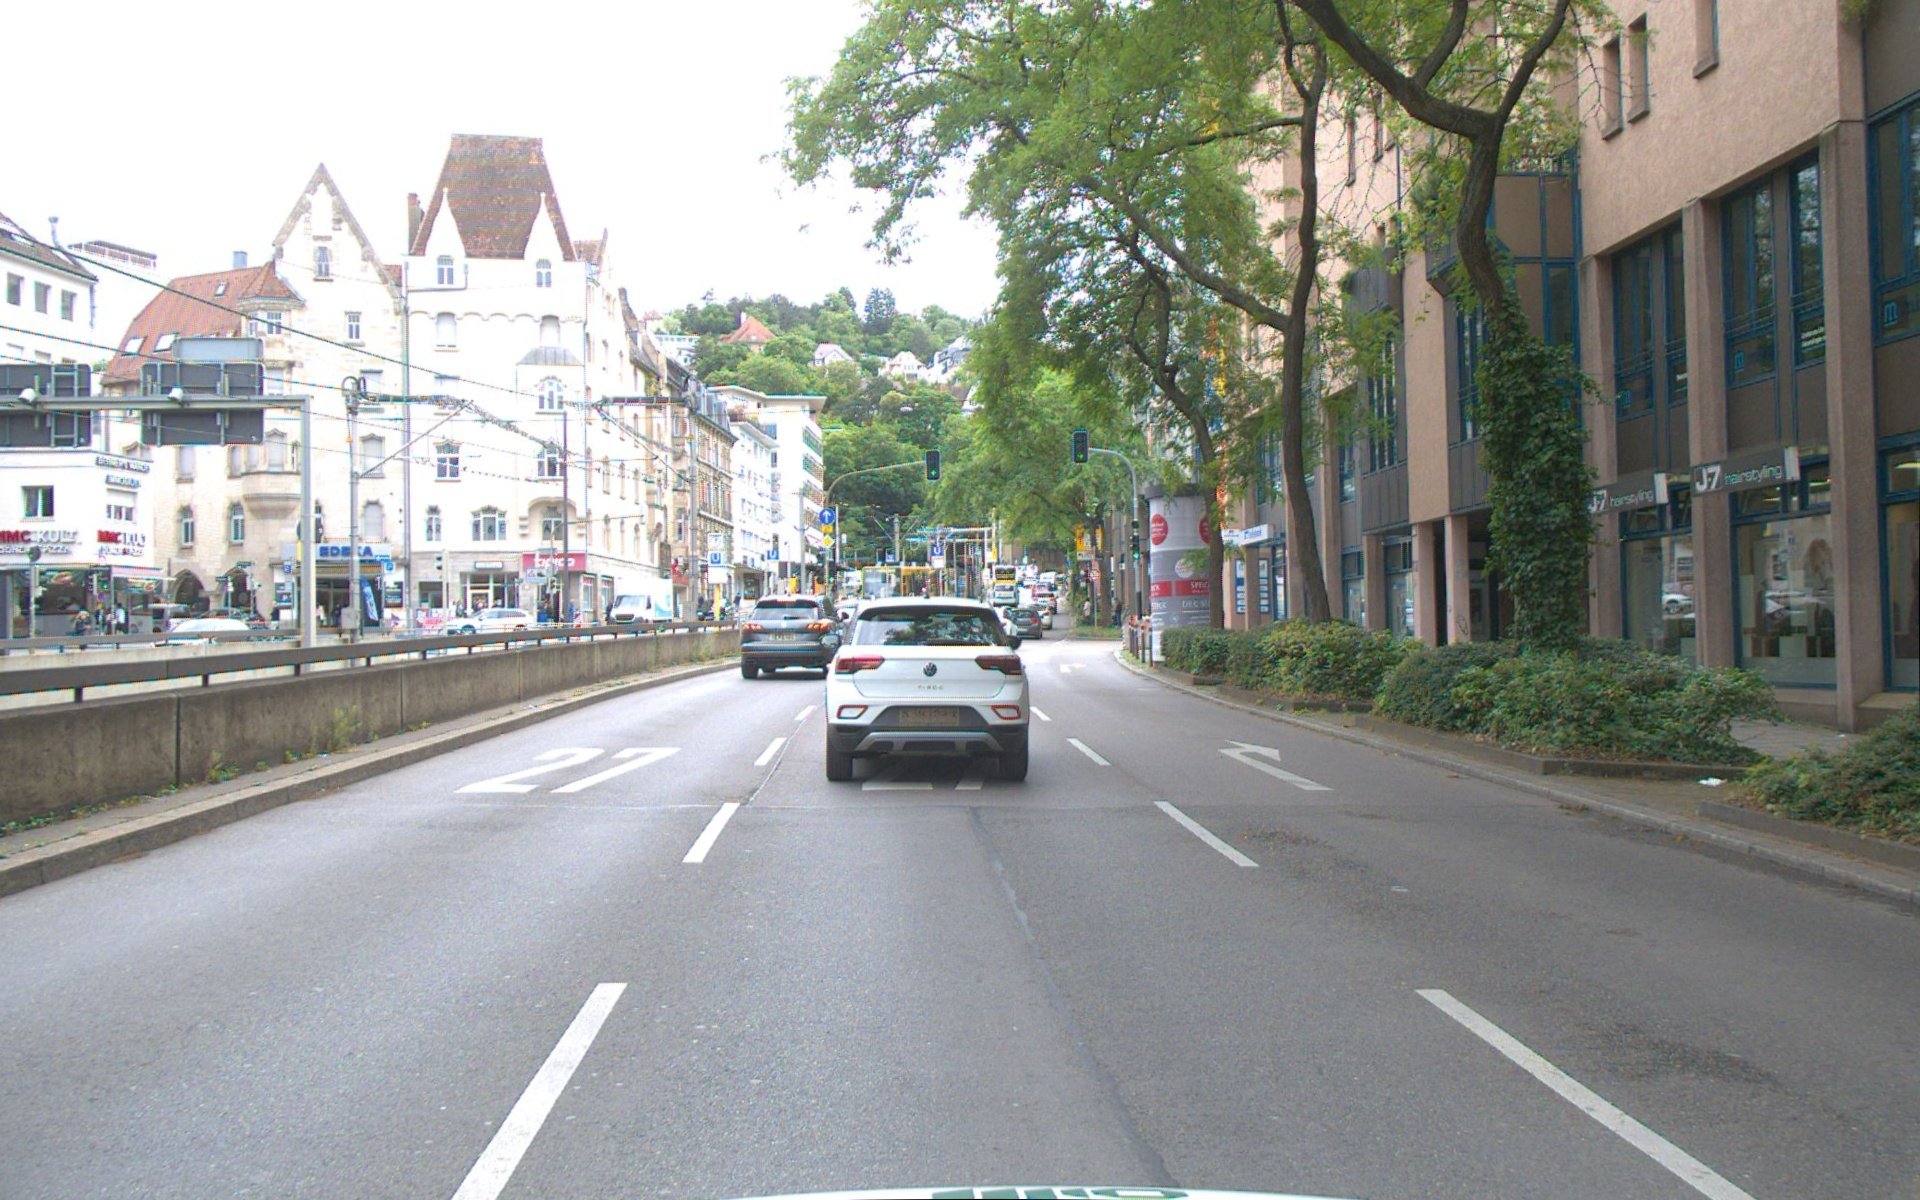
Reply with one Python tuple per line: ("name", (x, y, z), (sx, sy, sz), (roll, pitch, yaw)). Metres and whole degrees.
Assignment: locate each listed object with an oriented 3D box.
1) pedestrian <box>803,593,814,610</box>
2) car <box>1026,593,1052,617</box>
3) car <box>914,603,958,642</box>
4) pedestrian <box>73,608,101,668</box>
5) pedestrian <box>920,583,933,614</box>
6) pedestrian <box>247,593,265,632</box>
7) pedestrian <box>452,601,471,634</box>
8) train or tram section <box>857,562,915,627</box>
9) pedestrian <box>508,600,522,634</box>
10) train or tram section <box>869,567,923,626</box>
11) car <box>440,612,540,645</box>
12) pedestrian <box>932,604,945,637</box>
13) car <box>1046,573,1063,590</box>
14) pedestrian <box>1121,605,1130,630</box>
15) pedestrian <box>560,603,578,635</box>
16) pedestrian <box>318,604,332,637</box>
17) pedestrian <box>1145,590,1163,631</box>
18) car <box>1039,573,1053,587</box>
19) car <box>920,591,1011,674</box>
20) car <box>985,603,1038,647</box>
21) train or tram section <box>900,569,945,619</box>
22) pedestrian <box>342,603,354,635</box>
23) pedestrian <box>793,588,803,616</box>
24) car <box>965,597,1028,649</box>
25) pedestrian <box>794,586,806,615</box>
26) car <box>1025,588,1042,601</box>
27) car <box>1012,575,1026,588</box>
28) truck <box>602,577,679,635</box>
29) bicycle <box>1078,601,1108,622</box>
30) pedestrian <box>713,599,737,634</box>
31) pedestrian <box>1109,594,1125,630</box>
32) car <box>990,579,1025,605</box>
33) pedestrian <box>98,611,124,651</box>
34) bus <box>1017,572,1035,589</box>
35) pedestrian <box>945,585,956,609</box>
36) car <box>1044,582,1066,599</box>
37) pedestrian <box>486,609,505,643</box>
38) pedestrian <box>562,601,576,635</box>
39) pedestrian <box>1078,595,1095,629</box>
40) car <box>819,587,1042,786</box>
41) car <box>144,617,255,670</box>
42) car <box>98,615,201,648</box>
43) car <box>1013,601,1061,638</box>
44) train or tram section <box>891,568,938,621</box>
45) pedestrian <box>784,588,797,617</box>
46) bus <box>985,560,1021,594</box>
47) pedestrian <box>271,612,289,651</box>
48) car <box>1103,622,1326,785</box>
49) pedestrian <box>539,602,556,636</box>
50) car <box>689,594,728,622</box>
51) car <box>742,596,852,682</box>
("pedestrian", (-10.022, 0.086, 109.302), (0.622, 1.127, 0.690), (-1, 0, 3))
("car", (5.819, 0.371, 121.713), (1.845, 1.713, 4.163), (0, 0, 4))
("car", (-1.122, 1.008, 75.086), (1.847, 1.713, 4.158), (0, 0, -3))
("pedestrian", (-26.396, 1.141, 50.024), (0.499, 1.811, 0.577), (-1, 0, 6))
("pedestrian", (-1.912, -0.111, 94.136), (0.671, 1.741, 0.712), (-1, 0, 3))
("pedestrian", (-32.864, 0.584, 77.191), (0.564, 1.811, 0.510), (-1, -1, 30))
("pedestrian", (-26.878, 0.947, 89.199), (0.765, 1.735, 0.654), (-1, 0, 9))
("train or tram section", (-4.357, -0.356, 98.398), (2.775, 3.743, 5.755), (0, 0, 4))
("pedestrian", (-23.426, 0.893, 87.081), (0.563, 1.811, 0.512), (-1, 0, 8))
("train or tram section", (-3.963, -0.252, 104.155), (2.775, 3.582, 5.755), (0, 0, 4))
("car", (-23.166, 1.380, 81.549), (4.465, 1.588, 1.732), (1, -1, -37))
("pedestrian", (-1.159, 1.078, 88.768), (0.622, 1.741, 0.872), (-1, 0, 3))
("car", (12.026, -2.308, 211.201), (1.953, 2.049, 4.000), (0, -1, 0))
("pedestrian", (8.740, 0.921, 87.323), (0.461, 1.357, 0.519), (0, -1, -1))
("pedestrian", (-21.263, 1.025, 89.962), (0.659, 1.706, 0.691), (-1, 0, 21))
("pedestrian", (-34.687, 1.115, 90.381), (0.503, 1.811, 0.573), (-1, -1, 44))
("pedestrian", (9.785, 0.551, 83.476), (0.818, 2.049, 0.764), (0, -1, -1))
("car", (10.130, -2.338, 194.193), (1.638, 1.588, 3.680), (0, 0, 3))
("car", (0.066, 0.682, 36.518), (1.847, 1.713, 4.159), (0, 0, -2))
("car", (2.557, 1.204, 80.239), (2.315, 2.049, 5.151), (0, 0, 4))
("train or tram section", (-2.735, -0.465, 121.420), (2.775, 3.582, 5.755), (0, 0, 4))
("pedestrian", (-34.460, 1.076, 93.129), (0.564, 1.811, 0.510), (-1, 0, -10))
("pedestrian", (-10.300, 0.120, 104.944), (0.623, 1.741, 0.689), (-1, 0, -5))
("car", (1.211, 0.782, 56.824), (1.847, 1.713, 4.158), (0, 0, -3))
("pedestrian", (-9.873, 0.047, 102.205), (0.613, 1.793, 0.847), (-1, 0, 5))
("car", (7.202, -0.548, 161.567), (1.549, 1.193, 3.680), (0, 0, 3))
("car", (7.548, -2.359, 210.247), (1.638, 1.588, 3.988), (0, 0, 3))
("truck", (-17.821, 0.365, 92.776), (2.218, 3.130, 7.379), (0, 0, 6))
("bicycle", (8.060, 0.676, 100.166), (1.674, 1.204, 0.448), (-3, 0, -4))
("pedestrian", (-11.745, 0.845, 82.687), (0.859, 1.735, 0.810), (-1, 0, 33))
("pedestrian", (8.365, 0.638, 88.267), (0.706, 1.834, 0.834), (-3, 2, -1))
("car", (3.881, -0.630, 134.045), (2.314, 2.049, 5.151), (0, 0, 7))
("pedestrian", (-37.496, 1.378, 73.067), (0.765, 1.735, 0.654), (-1, 0, 9))
("bus", (8.055, -2.412, 203.145), (1.953, 2.049, 3.999), (0, -1, -1))
("pedestrian", (-0.683, -0.201, 119.087), (0.702, 1.761, 0.671), (0, -1, 5))
("car", (10.105, -0.992, 176.500), (1.844, 1.713, 4.164), (0, -1, 10))
("pedestrian", (-25.131, 1.419, 89.491), (0.774, 1.811, 0.665), (-1, -1, 34))
("pedestrian", (-20.988, 0.958, 88.795), (0.499, 1.811, 0.577), (-1, 0, 18))
("pedestrian", (6.859, 0.652, 89.612), (0.679, 1.808, 0.689), (-5, 0, -1))
("car", (-0.340, 0.719, 15.487), (1.801, 1.611, 4.154), (0, 0, -3))
("car", (-23.599, 1.323, 51.479), (1.630, 1.527, 4.042), (-1, 0, -1))
("car", (-39.871, 1.542, 81.381), (4.403, 1.588, 1.756), (0, -1, 12))
("car", (4.329, 1.085, 93.633), (2.317, 2.049, 5.146), (0, 0, -1))
("train or tram section", (-3.138, -0.411, 115.670), (2.775, 3.582, 5.755), (0, 0, 4))
("pedestrian", (-10.363, 0.172, 100.854), (0.673, 1.741, 0.662), (-1, 0, 3))
("bus", (4.483, -2.303, 170.132), (3.301, 3.118, 13.329), (0, 0, 3))
("pedestrian", (-31.372, 1.441, 76.326), (0.499, 1.811, 0.577), (-1, 0, 16))
("car", (2.645, 1.030, 18.065), (1.904, 1.557, 4.000), (0, 0, 1))
("pedestrian", (-22.019, 1.005, 88.275), (0.694, 1.811, 0.596), (-1, 0, 19))
("car", (-16.956, 0.555, 111.632), (1.638, 1.790, 4.784), (0, 0, 4))
("car", (-3.319, 0.760, 34.418), (1.953, 1.664, 3.999), (0, 0, -1))
